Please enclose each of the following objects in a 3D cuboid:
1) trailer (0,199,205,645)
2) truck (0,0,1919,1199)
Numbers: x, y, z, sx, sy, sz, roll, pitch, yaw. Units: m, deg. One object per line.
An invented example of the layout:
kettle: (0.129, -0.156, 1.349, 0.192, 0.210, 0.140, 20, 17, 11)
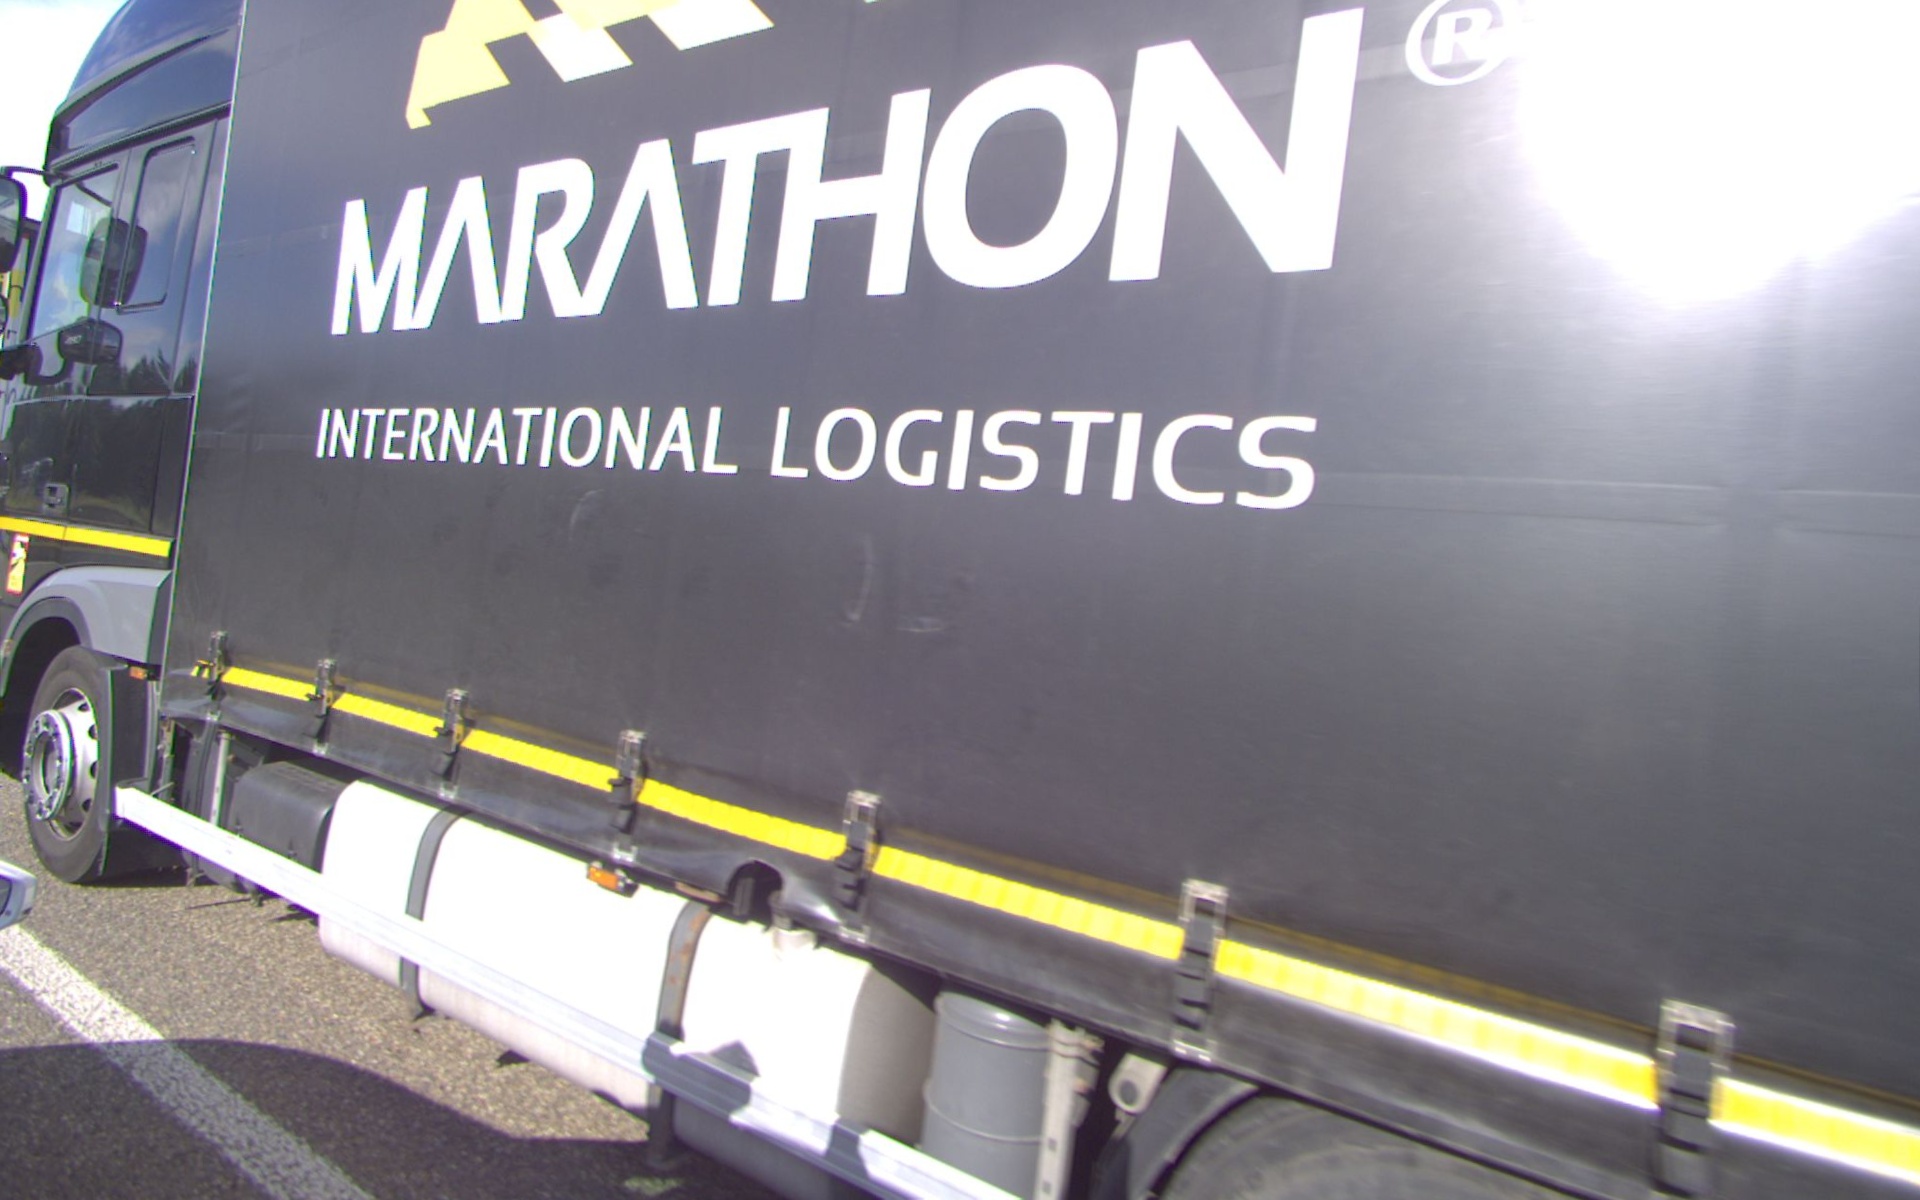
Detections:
trailer: (-14.220, -2.259, 12.736, 12.855, 3.986, 2.796, 7, -1, 32)
truck: (0.331, -0.486, 3.047, 10.030, 4.083, 2.748, 7, -2, 30)
